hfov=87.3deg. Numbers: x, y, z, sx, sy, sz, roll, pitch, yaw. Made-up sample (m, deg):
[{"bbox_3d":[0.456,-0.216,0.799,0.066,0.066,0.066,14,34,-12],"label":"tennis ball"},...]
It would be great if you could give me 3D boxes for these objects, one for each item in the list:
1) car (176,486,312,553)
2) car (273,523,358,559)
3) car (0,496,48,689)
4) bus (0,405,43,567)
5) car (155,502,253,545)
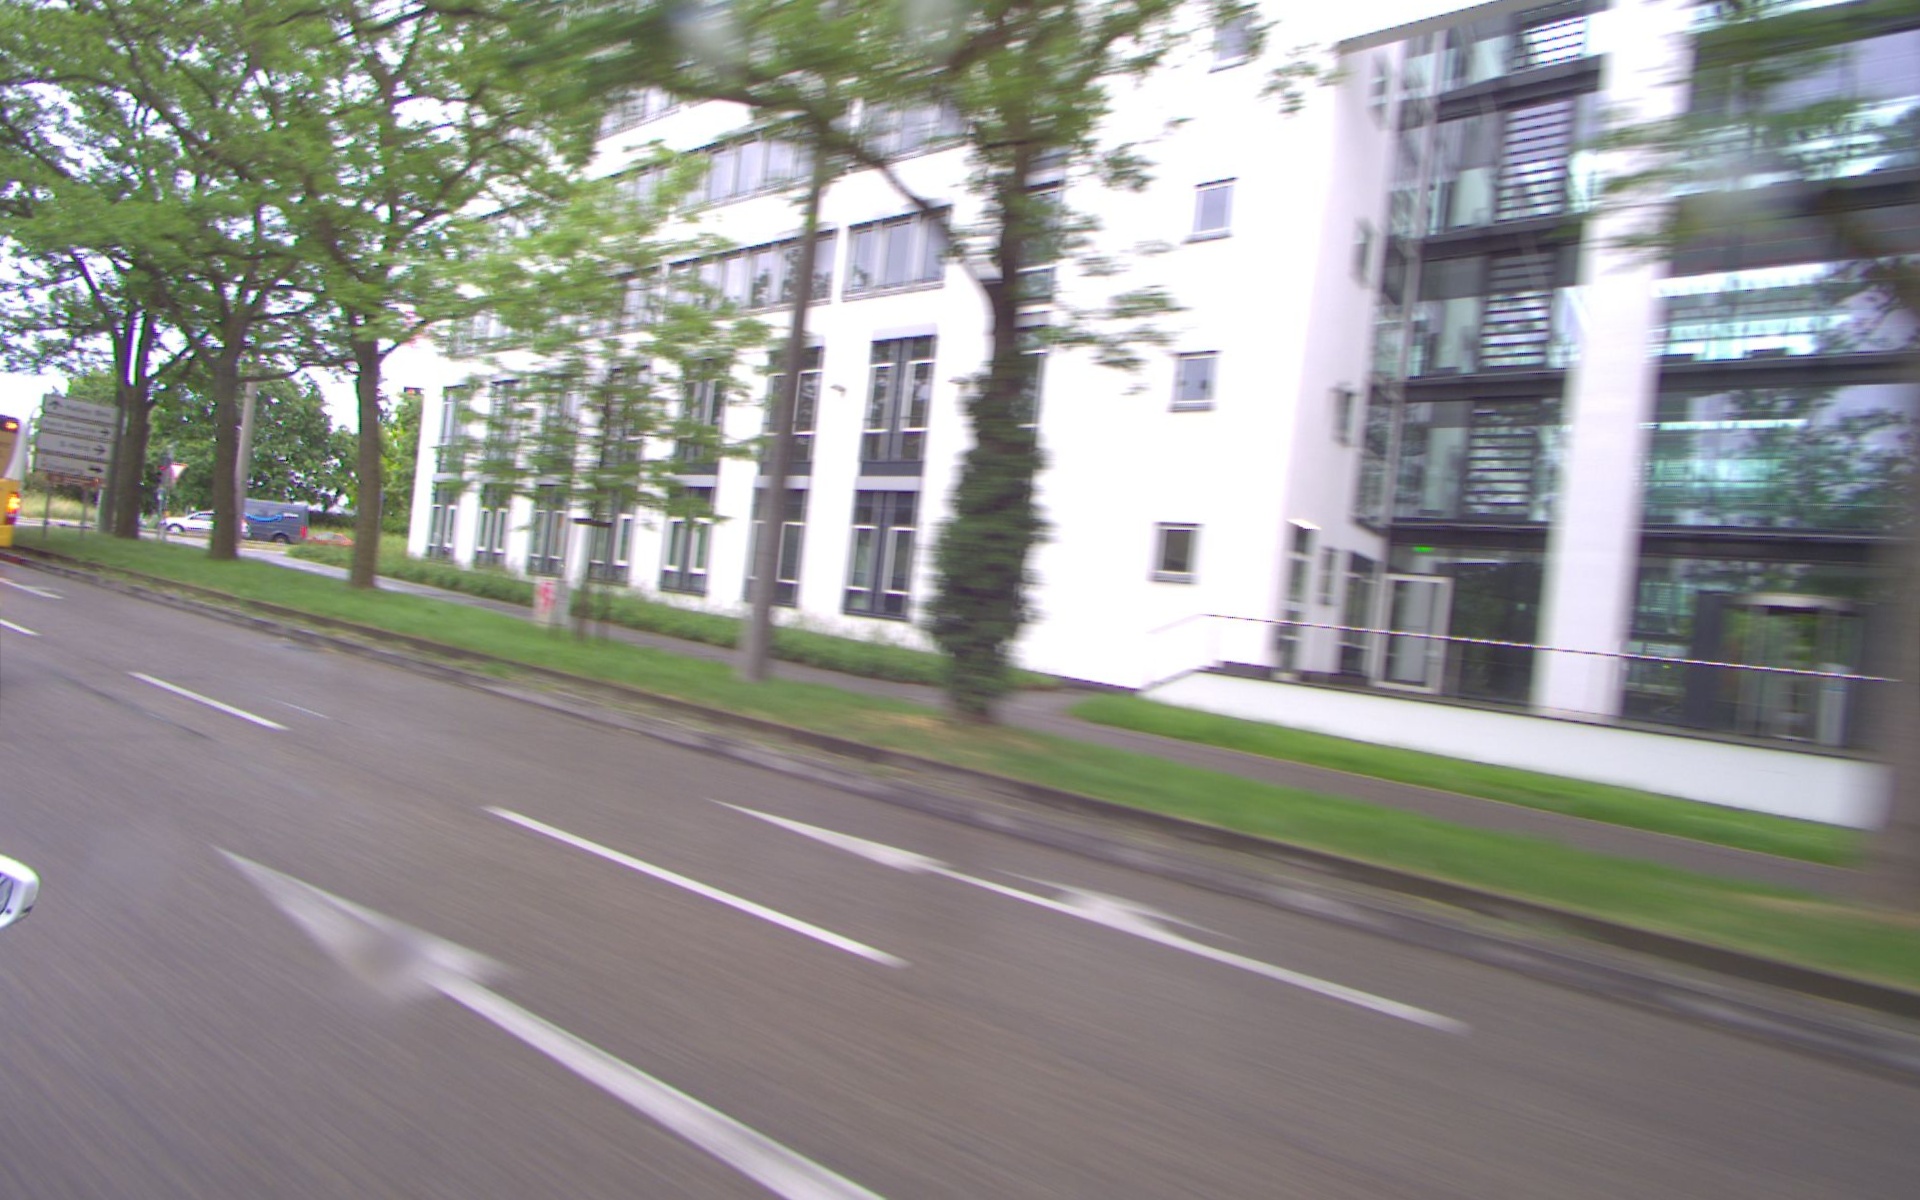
[{"bbox_3d":[-41.425,-4.576,58.415,5.966,2.772,2.067,8,-2,-30],"label":"car"},{"bbox_3d":[-42.145,-3.839,65.944,4.493,1.486,2.146,10,-3,-31],"label":"car"},{"bbox_3d":[-9.185,-0.308,8.049,3.749,1.448,1.744,6,-3,32],"label":"car"},{"bbox_3d":[-24.759,-3.065,22.974,11.951,3.188,2.731,7,-2,34],"label":"bus"},{"bbox_3d":[-41.420,-4.153,55.268,4.023,1.586,1.856,9,-3,-33],"label":"car"}]
